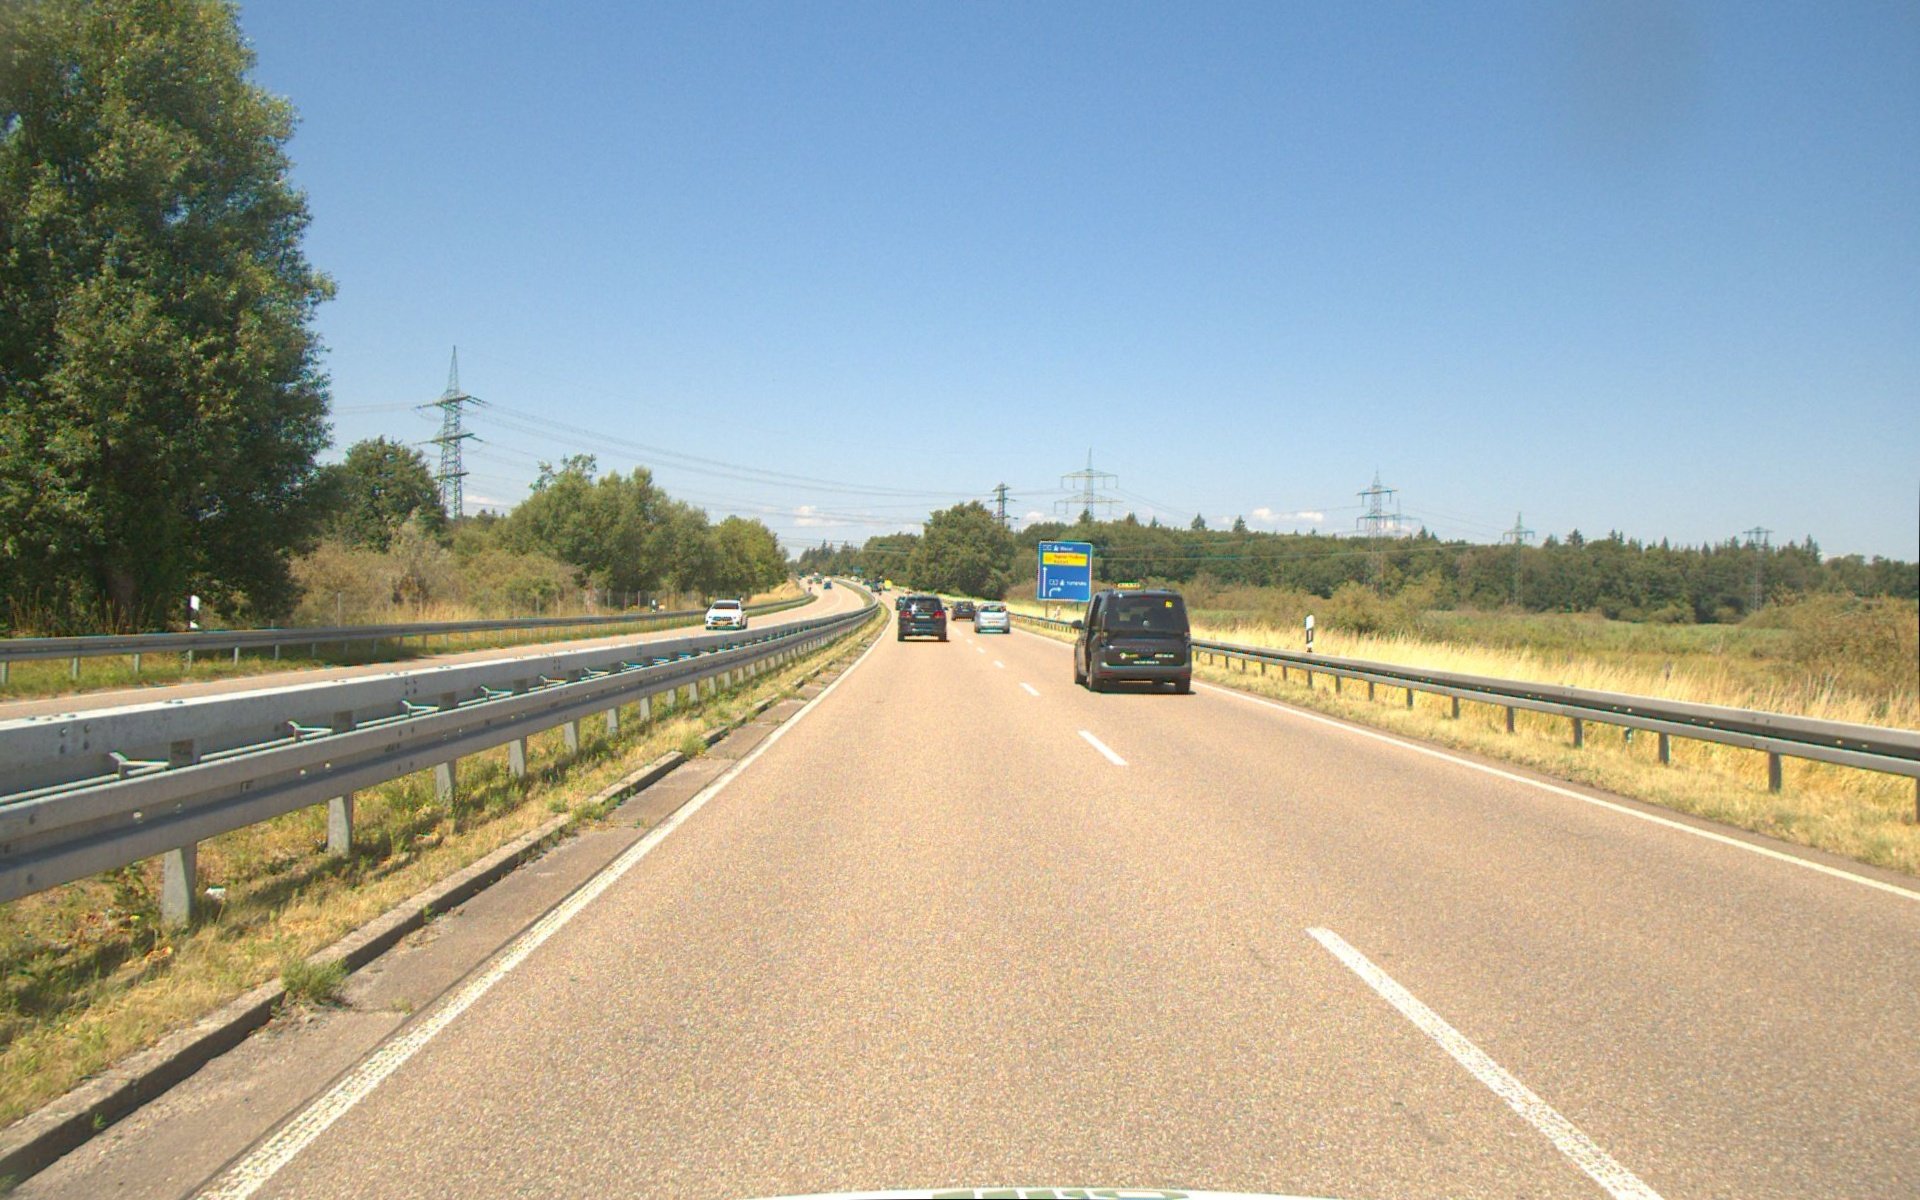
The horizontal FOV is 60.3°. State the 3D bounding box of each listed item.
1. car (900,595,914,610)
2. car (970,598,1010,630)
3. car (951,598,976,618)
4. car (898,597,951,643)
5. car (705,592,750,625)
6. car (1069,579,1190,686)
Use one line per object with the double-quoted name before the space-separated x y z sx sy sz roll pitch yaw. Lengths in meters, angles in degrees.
"car" -5.893 0.258 183.424 1.484 1.500 3.065 4 0 -2
"car" 1.482 0.680 82.351 1.743 1.505 4.314 2 0 -2
"car" 0.222 0.590 121.570 1.782 1.439 3.999 1 0 -1
"car" -1.418 0.755 64.397 1.953 1.683 3.998 2 0 -2
"car" -11.686 0.401 83.273 1.790 1.524 4.101 2 0 -2
"car" 3.116 0.554 31.197 1.744 1.848 4.212 1 0 -1
